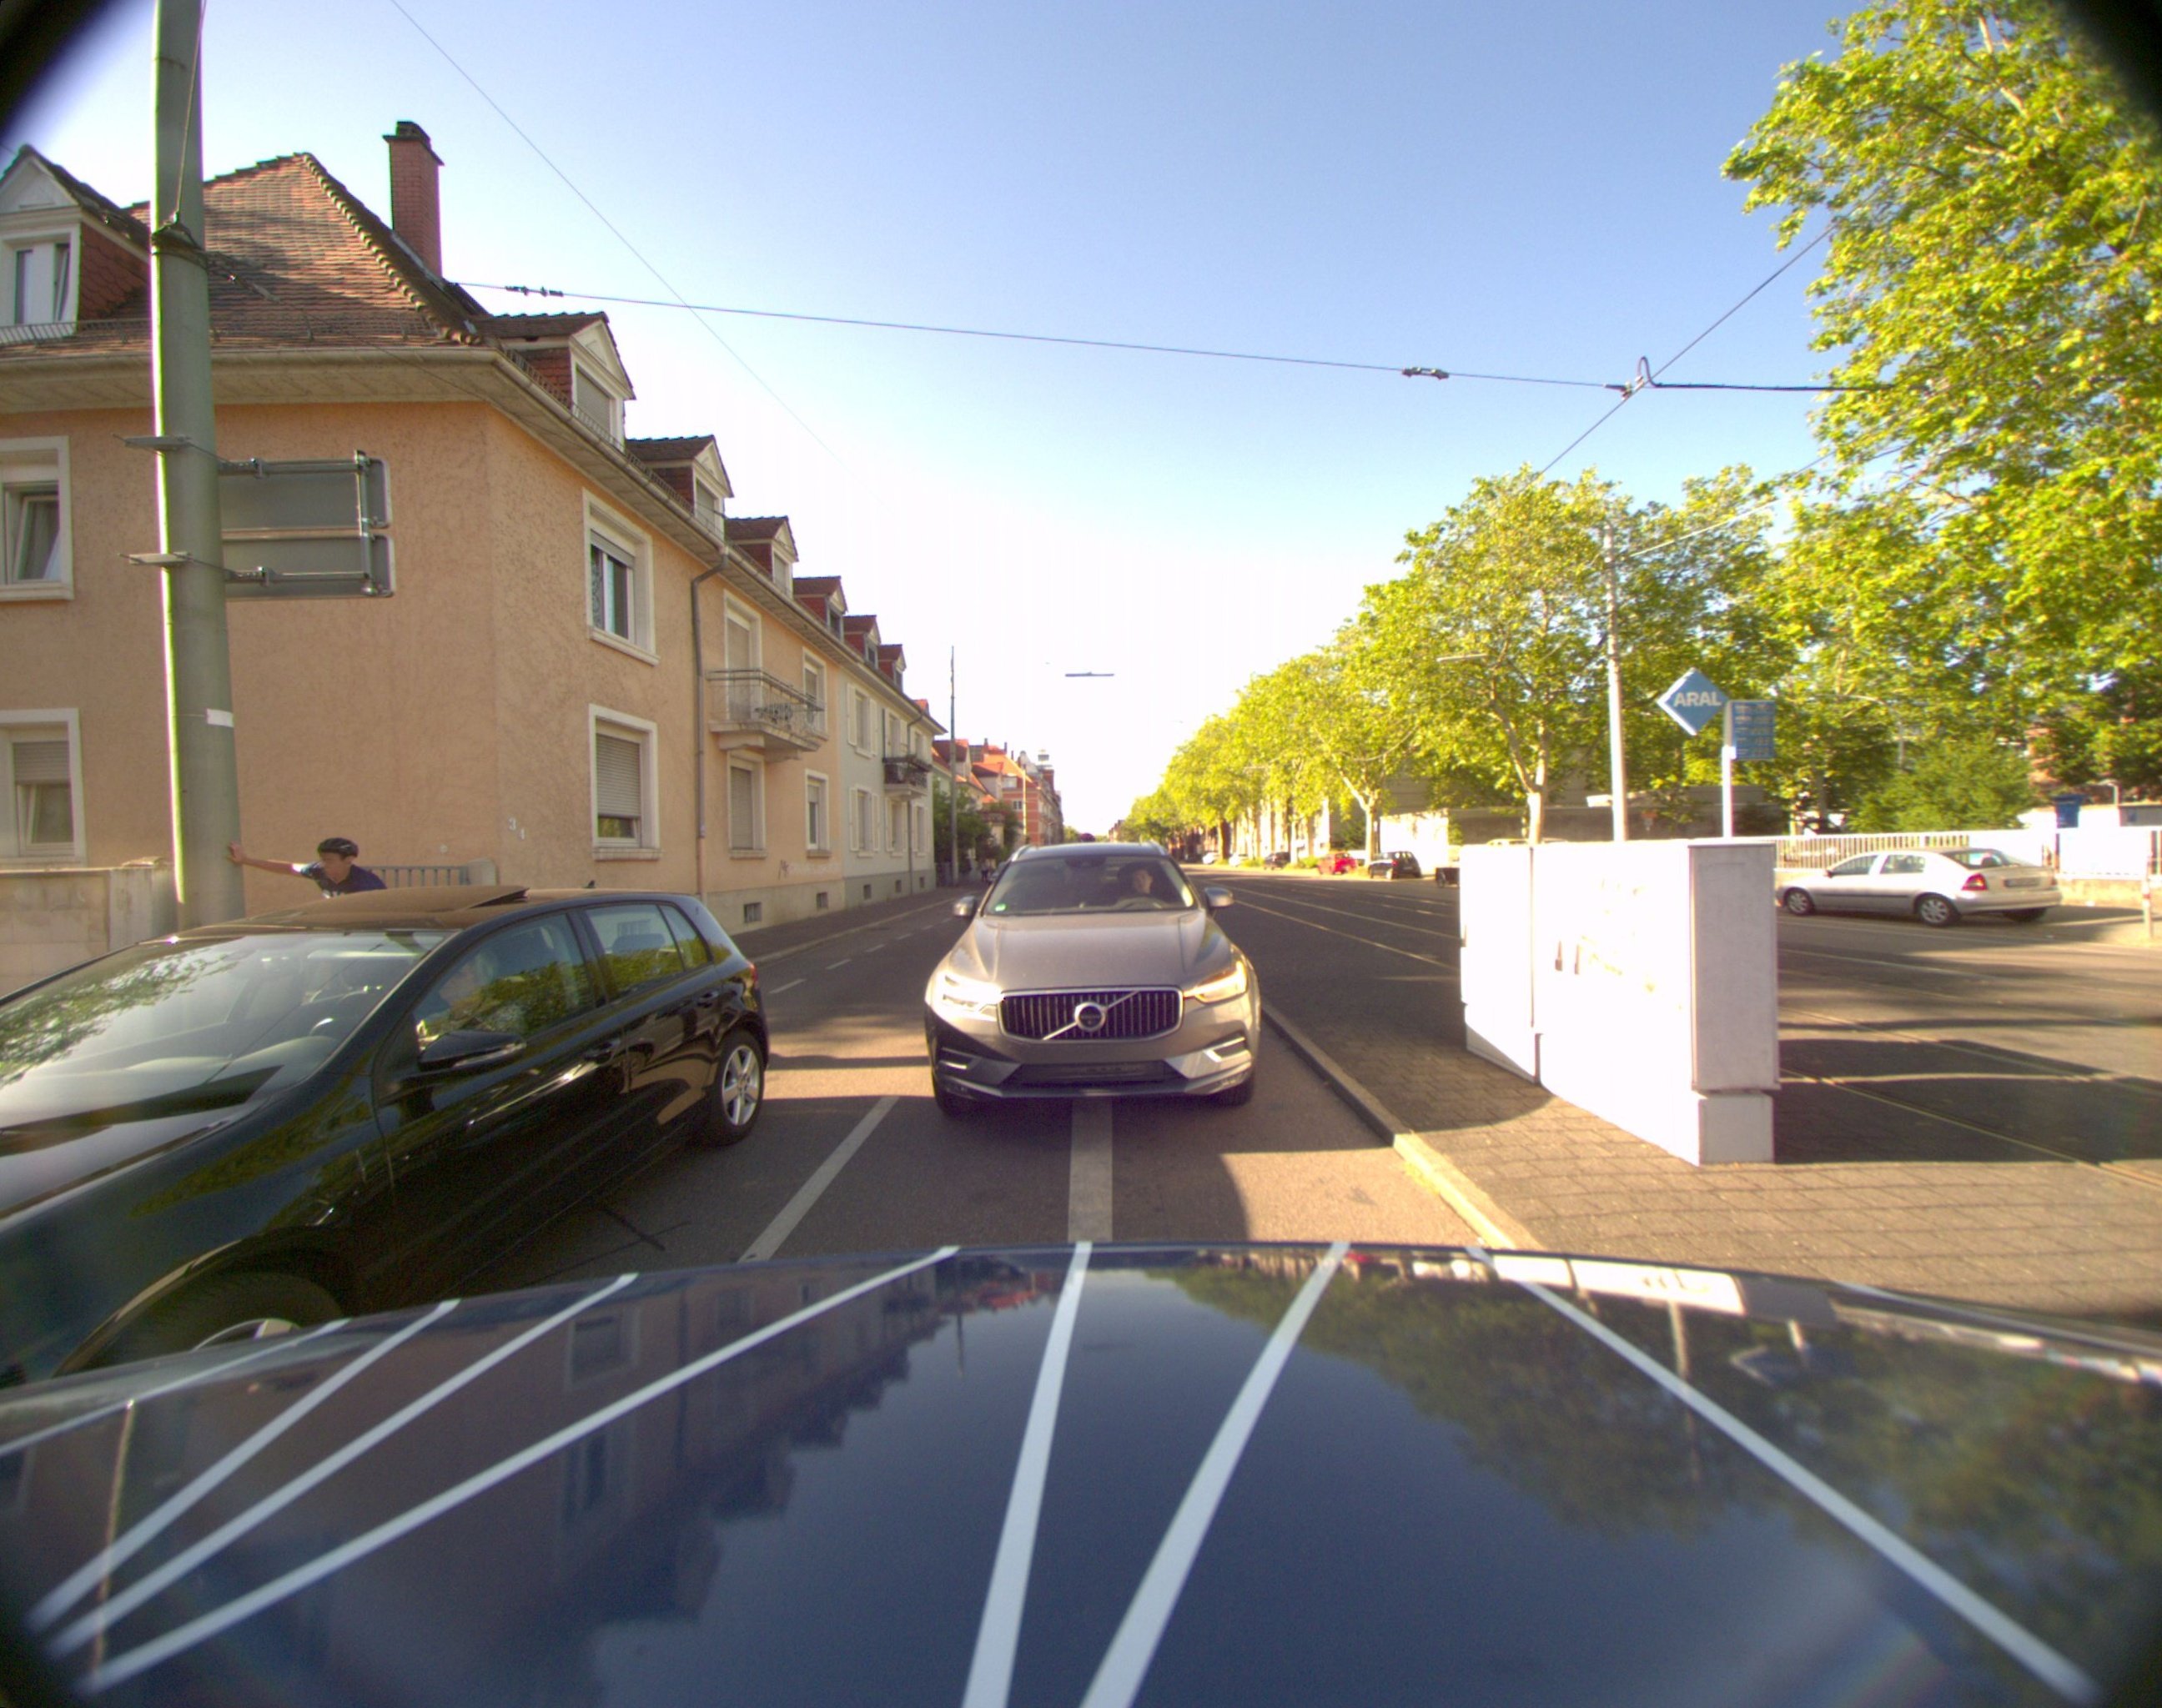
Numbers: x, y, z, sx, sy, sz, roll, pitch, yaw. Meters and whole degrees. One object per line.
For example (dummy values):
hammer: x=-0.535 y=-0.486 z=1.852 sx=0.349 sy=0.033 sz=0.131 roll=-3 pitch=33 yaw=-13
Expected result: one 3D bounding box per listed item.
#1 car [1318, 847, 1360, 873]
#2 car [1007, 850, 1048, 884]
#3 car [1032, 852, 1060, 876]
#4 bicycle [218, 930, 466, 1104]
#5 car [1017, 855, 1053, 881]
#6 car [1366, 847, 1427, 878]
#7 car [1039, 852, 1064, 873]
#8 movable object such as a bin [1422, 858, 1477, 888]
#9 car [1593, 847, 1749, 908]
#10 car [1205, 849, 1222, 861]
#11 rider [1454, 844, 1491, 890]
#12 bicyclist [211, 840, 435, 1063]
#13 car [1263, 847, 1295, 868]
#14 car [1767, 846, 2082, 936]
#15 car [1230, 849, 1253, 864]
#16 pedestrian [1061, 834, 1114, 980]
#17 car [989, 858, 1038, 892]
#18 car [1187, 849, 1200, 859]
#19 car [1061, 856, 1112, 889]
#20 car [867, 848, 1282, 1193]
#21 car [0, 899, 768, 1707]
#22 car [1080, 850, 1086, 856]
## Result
car: x=16.929 y=0.379 z=50.006 sx=1.661 sy=1.486 sz=3.377 roll=-5 pitch=1 yaw=3
car: x=-2.906 y=0.689 z=42.404 sx=1.825 sy=1.701 sz=4.334 roll=-2 pitch=1 yaw=1
car: x=-2.780 y=0.773 z=60.923 sx=1.825 sy=1.701 sz=4.334 roll=-2 pitch=1 yaw=1
bicycle: x=-5.920 y=1.245 z=6.226 sx=0.556 sy=1.069 sz=1.624 roll=2 pitch=0 yaw=-7
car: x=-2.788 y=0.833 z=47.021 sx=1.825 sy=1.424 sz=4.334 roll=-2 pitch=1 yaw=1
car: x=16.874 y=0.442 z=40.840 sx=1.723 sy=1.436 sz=3.769 roll=-5 pitch=1 yaw=3
car: x=-2.591 y=0.695 z=67.290 sx=1.825 sy=1.701 sz=4.334 roll=-2 pitch=1 yaw=1
movable object such as a bin: x=14.405 y=0.726 z=29.758 sx=1.178 sy=1.097 sz=1.834 roll=-2 pitch=1 yaw=-4
car: x=16.415 y=0.594 z=21.391 sx=1.619 sy=1.436 sz=3.606 roll=-5 pitch=1 yaw=3
car: x=17.580 y=0.099 z=100.690 sx=1.661 sy=1.452 sz=3.730 roll=-5 pitch=1 yaw=3
rider: x=14.590 y=0.462 z=28.358 sx=0.725 sy=1.639 sz=1.106 roll=-2 pitch=1 yaw=-4
bicyclist: x=-6.116 y=0.756 z=6.193 sx=1.021 sy=1.684 sz=0.729 roll=2 pitch=0 yaw=-7
car: x=17.139 y=0.304 z=65.947 sx=1.754 sy=1.582 sz=3.878 roll=-5 pitch=1 yaw=3
car: x=16.198 y=0.628 z=14.961 sx=1.687 sy=1.358 sz=3.989 roll=-6 pitch=0 yaw=1
car: x=17.624 y=0.244 z=83.475 sx=1.754 sy=1.532 sz=3.878 roll=-5 pitch=1 yaw=3
pedestrian: x=0.088 y=0.674 z=9.918 sx=0.609 sy=1.832 sz=0.599 roll=-2 pitch=1 yaw=1
car: x=-3.230 y=0.963 z=37.150 sx=1.825 sy=1.422 sz=4.334 roll=-2 pitch=1 yaw=1
car: x=18.562 y=0.057 z=125.566 sx=1.661 sy=1.452 sz=3.730 roll=-5 pitch=1 yaw=3
car: x=0.336 y=0.825 z=35.670 sx=1.824 sy=1.422 sz=4.493 roll=-2 pitch=-1 yaw=7
car: x=0.121 y=0.797 z=5.810 sx=1.924 sy=1.579 sz=4.387 roll=-2 pitch=1 yaw=4
car: x=-2.814 y=1.044 z=2.627 sx=1.717 sy=1.430 sz=3.990 roll=-2 pitch=1 yaw=1
car: x=0.563 y=-0.404 z=233.948 sx=1.851 sy=1.640 sz=3.999 roll=-2 pitch=1 yaw=1
